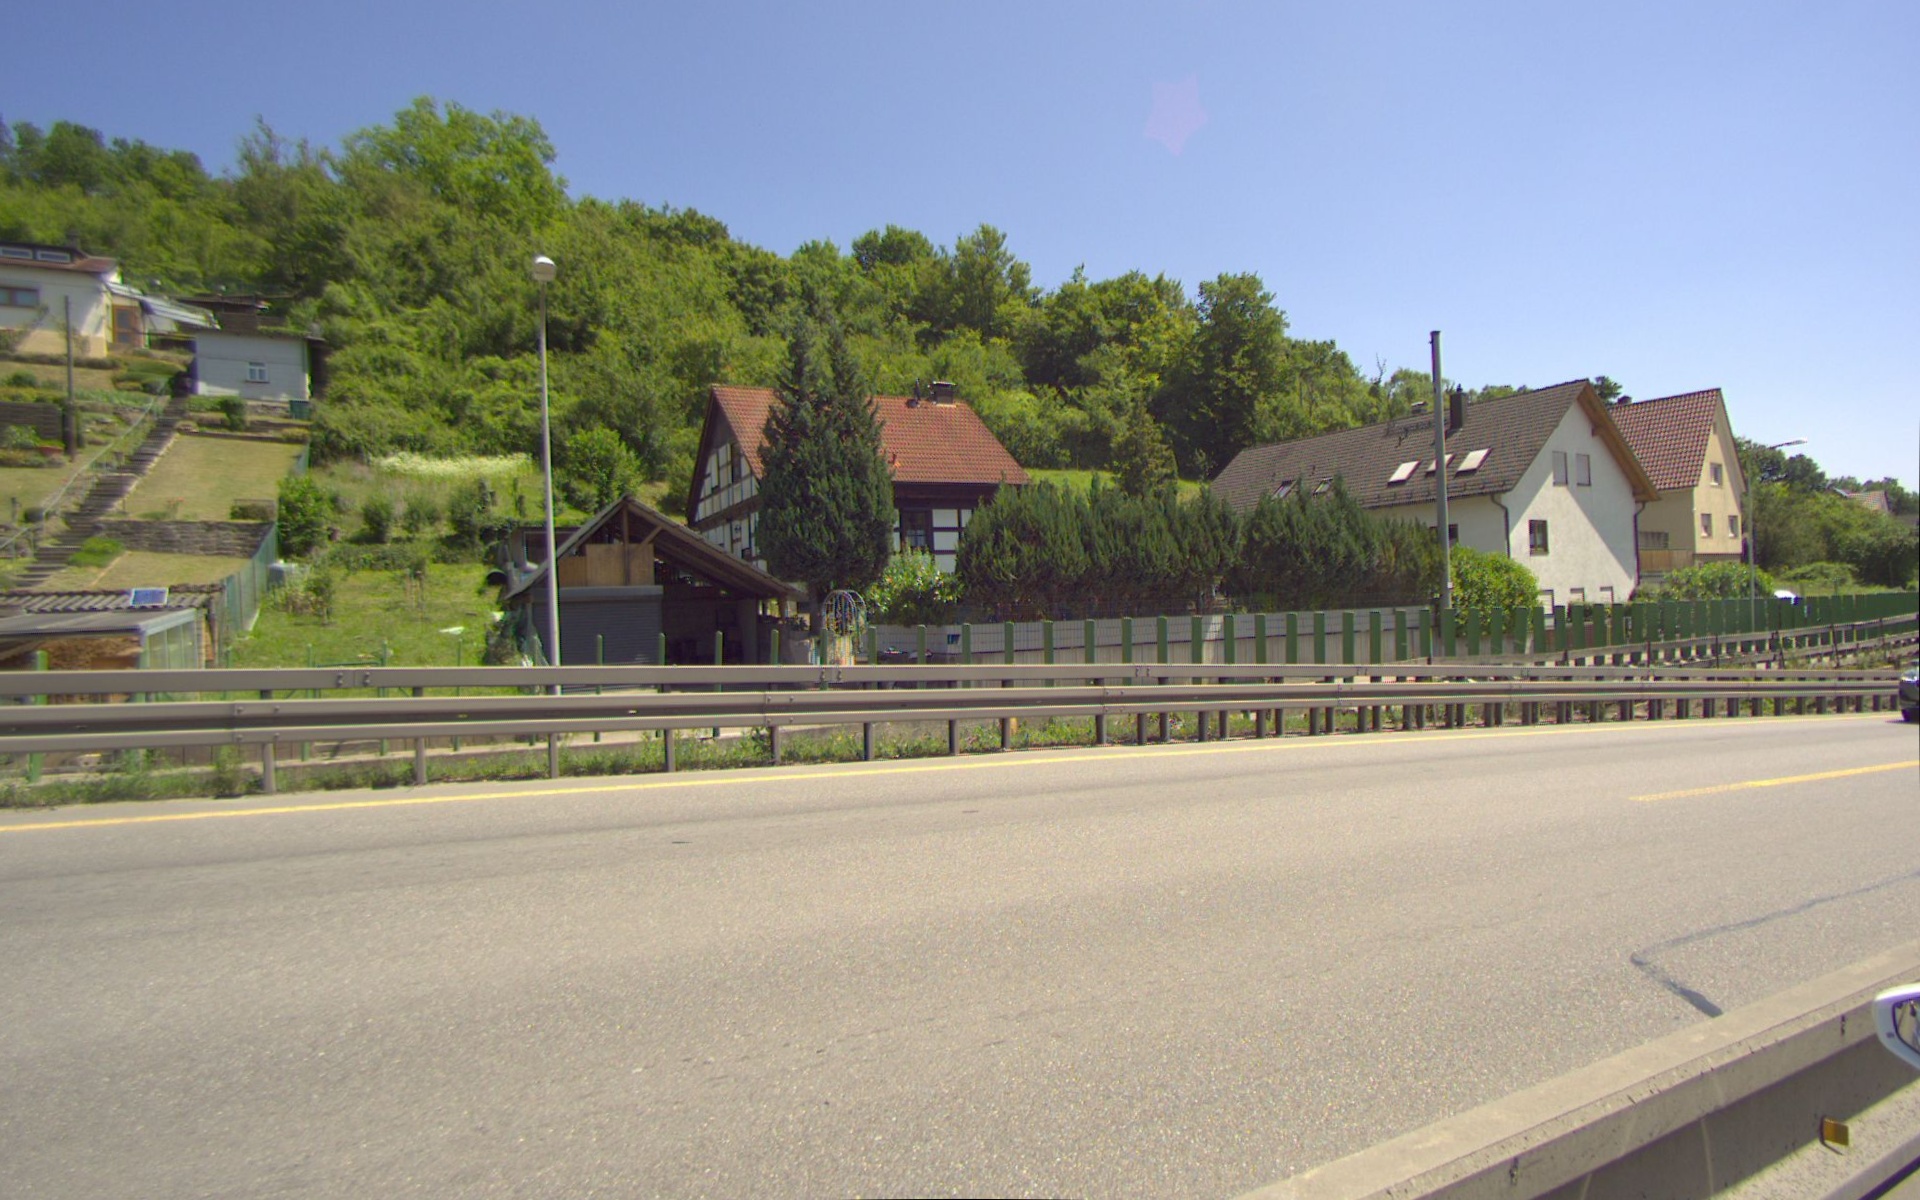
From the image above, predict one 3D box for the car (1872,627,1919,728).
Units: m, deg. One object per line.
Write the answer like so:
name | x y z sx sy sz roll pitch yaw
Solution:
car | 19.689 1.492 19.305 4.457 1.851 1.984 2 -3 -31
